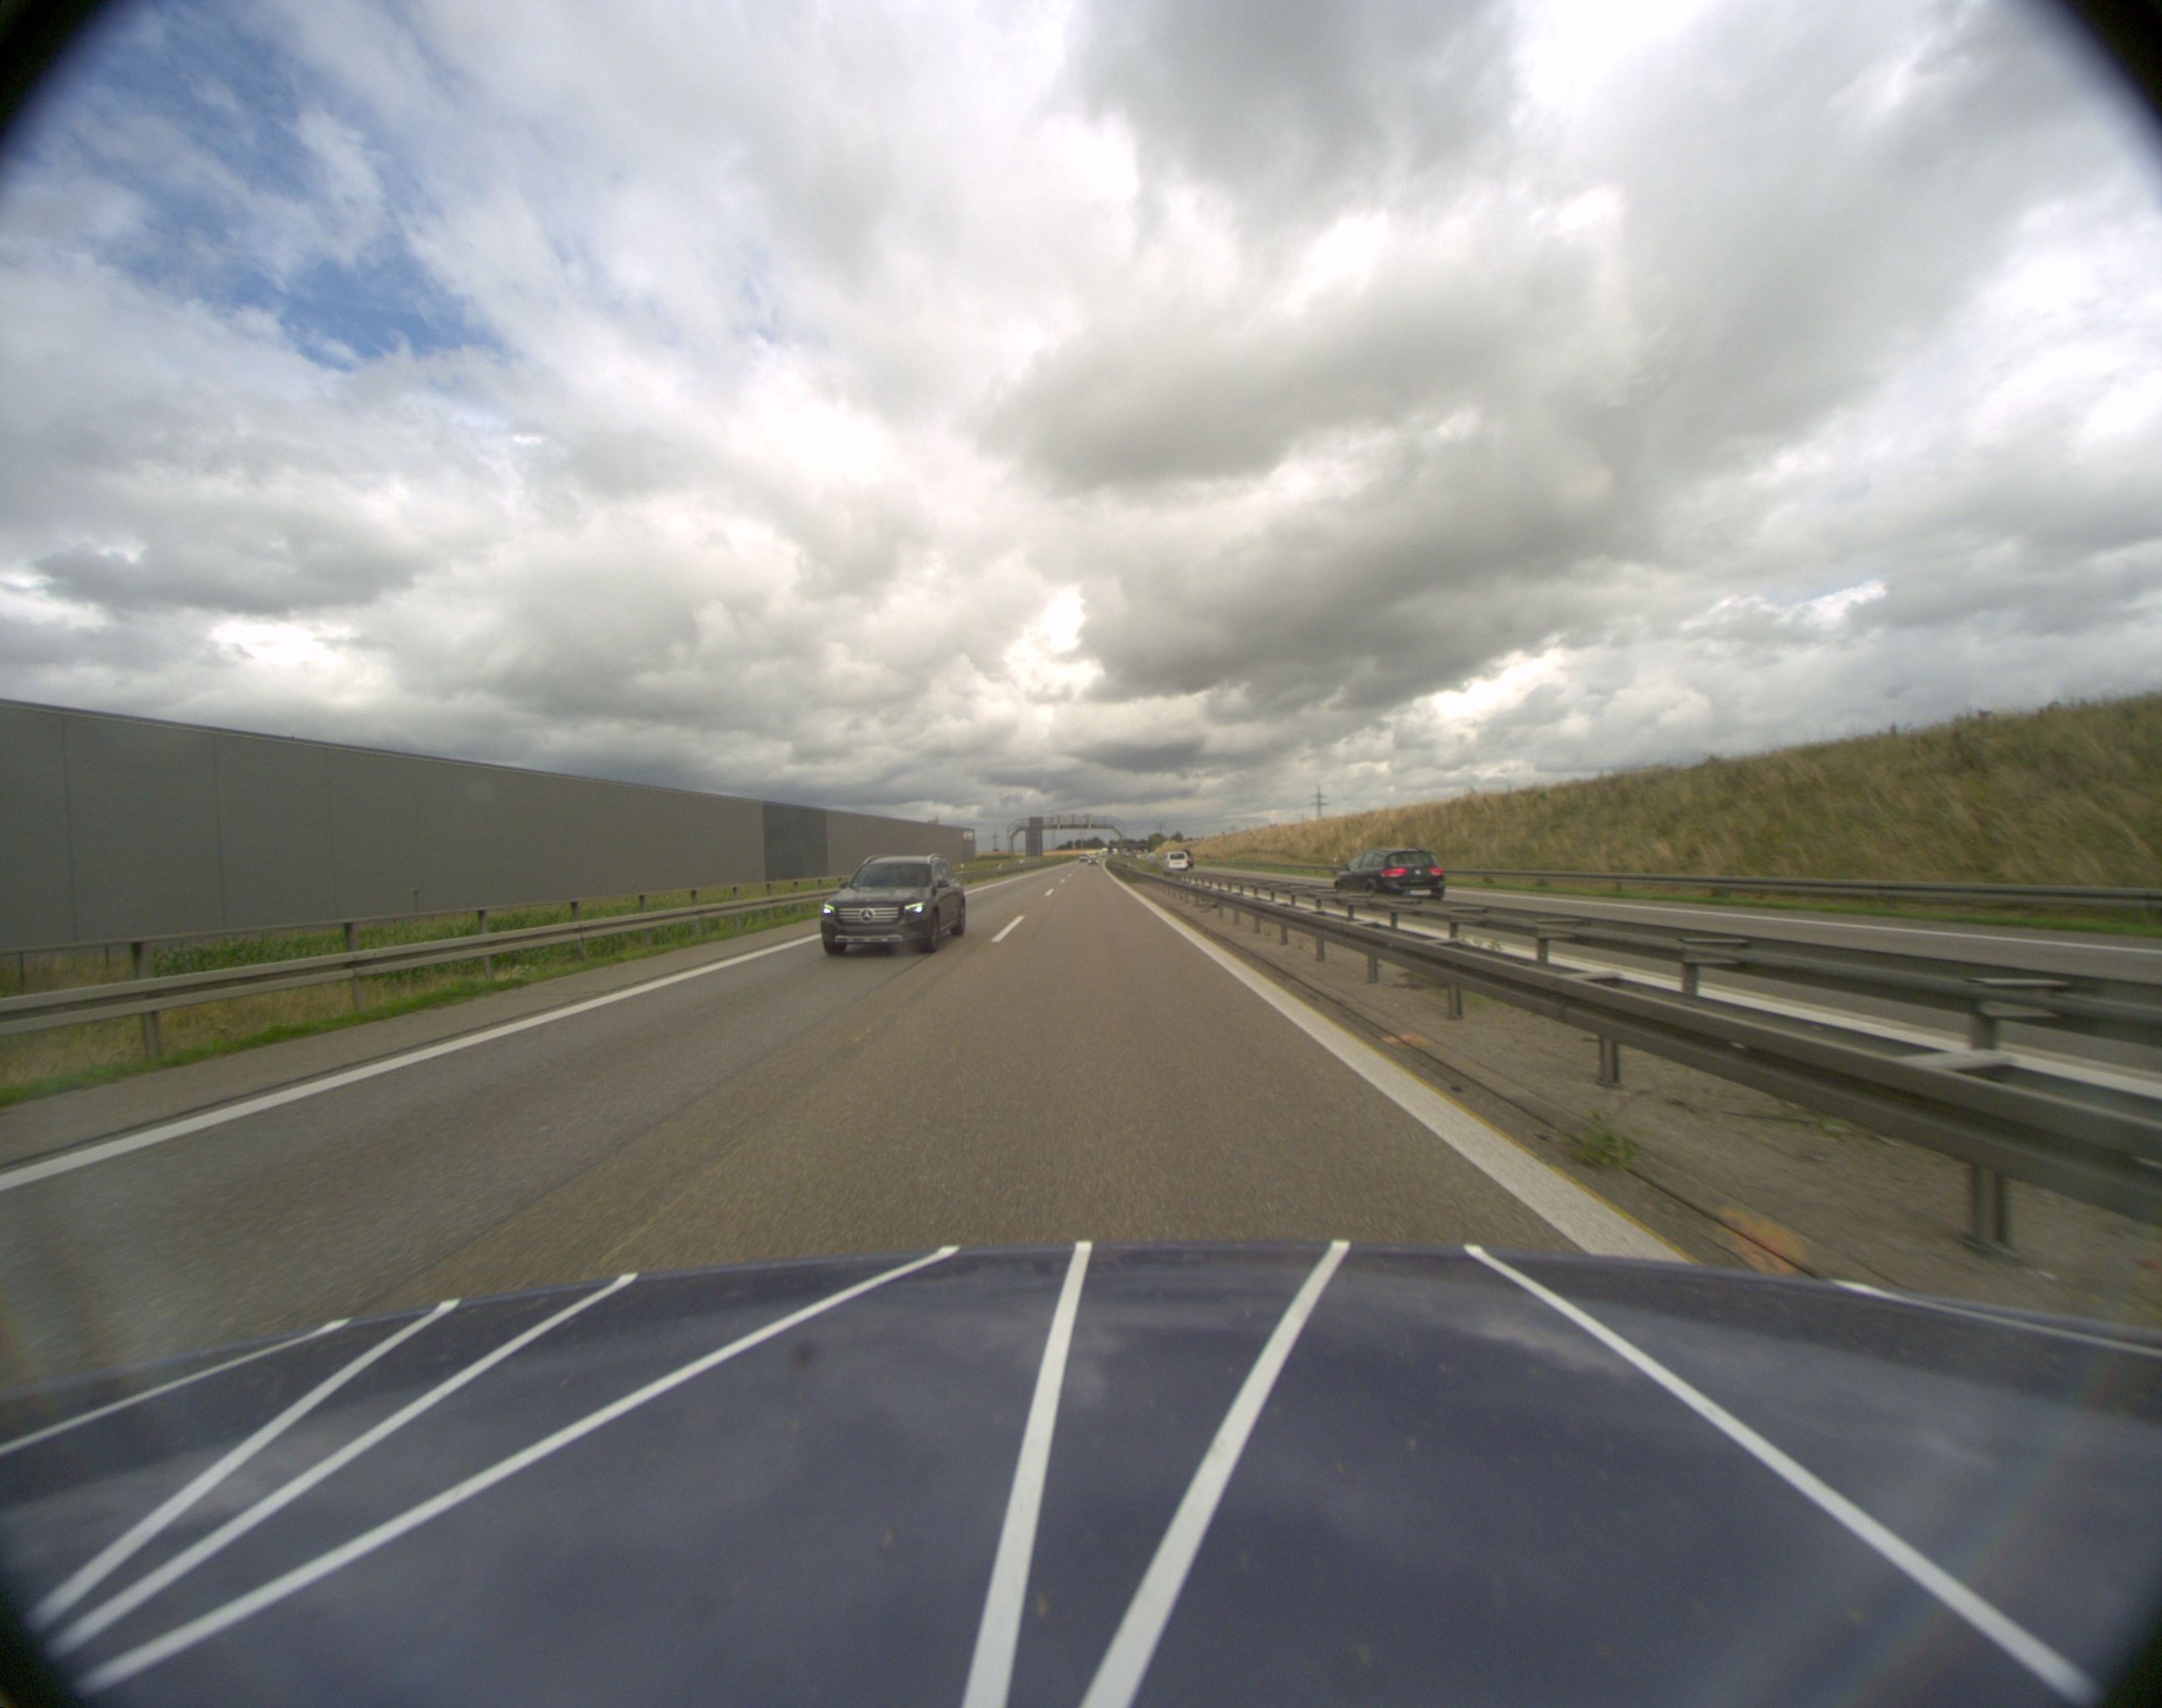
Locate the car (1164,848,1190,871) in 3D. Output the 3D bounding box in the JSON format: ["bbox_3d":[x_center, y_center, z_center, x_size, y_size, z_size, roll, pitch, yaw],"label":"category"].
[{"bbox_3d":[8.738,0.461,69.532,1.832,1.874,5.418,-2,1,1],"label":"car"}]

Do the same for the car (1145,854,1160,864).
[{"bbox_3d":[10.228,0.689,108.610,1.816,1.394,4.405,-2,1,1],"label":"car"}]

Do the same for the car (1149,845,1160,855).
[{"bbox_3d":[15.435,-0.852,160.309,1.998,2.002,4.708,-1,0,1],"label":"car"}]

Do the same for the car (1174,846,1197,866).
[{"bbox_3d":[12.385,0.212,90.668,1.998,2.229,5.718,-2,1,1],"label":"car"}]

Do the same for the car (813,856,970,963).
[{"bbox_3d":[-3.324,0.888,14.240,1.838,1.600,4.359,-1,1,0],"label":"car"}]

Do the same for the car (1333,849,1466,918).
[{"bbox_3d":[8.228,0.696,20.037,1.846,1.567,3.999,-2,1,1],"label":"car"}]

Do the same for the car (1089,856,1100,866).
[{"bbox_3d":[2.544,1.348,141.103,1.998,1.695,4.663,-3,-1,2],"label":"car"}]

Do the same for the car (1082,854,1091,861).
[{"bbox_3d":[1.562,0.819,201.998,1.998,1.812,4.343,-1,1,4],"label":"car"}]
